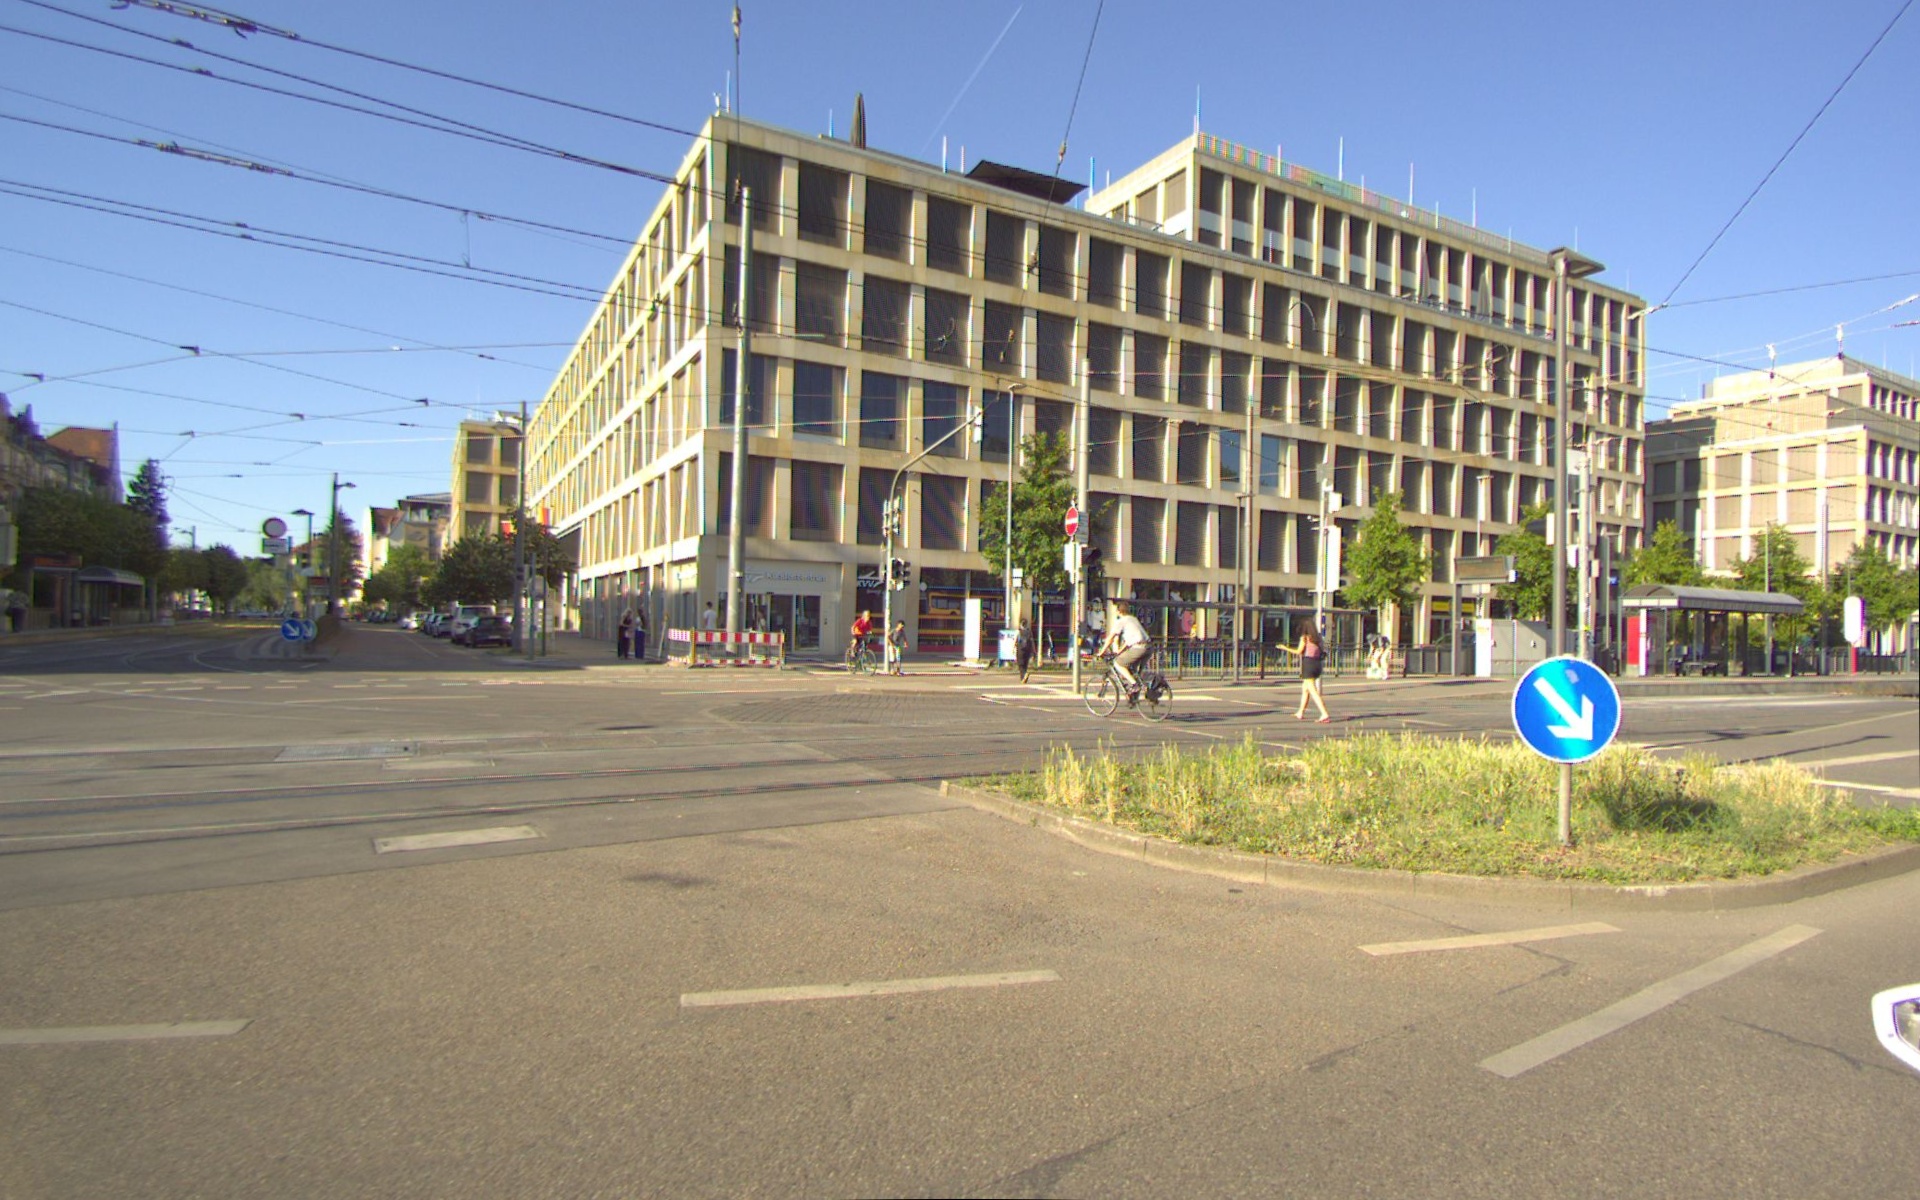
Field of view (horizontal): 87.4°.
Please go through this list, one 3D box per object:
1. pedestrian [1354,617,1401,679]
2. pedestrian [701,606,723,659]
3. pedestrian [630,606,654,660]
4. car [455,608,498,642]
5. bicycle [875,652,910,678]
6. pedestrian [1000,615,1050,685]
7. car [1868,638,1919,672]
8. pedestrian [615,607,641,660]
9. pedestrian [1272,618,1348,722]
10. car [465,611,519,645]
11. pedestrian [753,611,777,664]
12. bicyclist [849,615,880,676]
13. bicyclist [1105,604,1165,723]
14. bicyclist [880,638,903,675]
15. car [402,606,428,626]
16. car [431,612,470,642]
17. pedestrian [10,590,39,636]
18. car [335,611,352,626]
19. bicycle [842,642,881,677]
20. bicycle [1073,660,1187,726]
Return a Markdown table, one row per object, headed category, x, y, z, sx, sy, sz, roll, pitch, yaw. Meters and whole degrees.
| category | x | y | z | sx | sy | sz | roll | pitch | yaw |
| --- | --- | --- | --- | --- | --- | --- | --- | --- | --- |
| pedestrian | 11.510 | 1.317 | 27.722 | 0.921 | 1.666 | 0.791 | 2 | -1 | -28 |
| pedestrian | -8.068 | 1.045 | 32.689 | 0.574 | 1.704 | 0.613 | 2 | -1 | -24 |
| pedestrian | -10.301 | 1.066 | 32.567 | 0.576 | 1.704 | 0.612 | 2 | -1 | -31 |
| car | -24.861 | 1.290 | 51.575 | 1.631 | 1.683 | 3.620 | 2 | -1 | -31 |
| bicycle | -1.885 | 1.786 | 27.915 | 0.504 | 0.617 | 1.719 | 2 | -1 | -20 |
| pedestrian | 1.580 | 1.209 | 24.533 | 0.790 | 1.666 | 0.921 | 2 | -1 | -42 |
| car | 59.890 | 3.486 | 64.040 | 3.955 | 2.040 | 1.983 | 2 | -1 | -31 |
| pedestrian | -10.918 | 1.092 | 33.042 | 0.632 | 1.704 | 0.611 | 2 | -1 | -32 |
| pedestrian | 5.819 | 1.142 | 16.716 | 0.790 | 1.666 | 0.921 | 2 | -1 | -42 |
| car | -21.722 | 1.273 | 46.579 | 1.869 | 1.483 | 3.967 | 2 | -1 | -31 |
| pedestrian | -6.288 | 1.204 | 32.408 | 0.576 | 1.704 | 0.612 | 2 | -1 | -31 |
| bicyclist | -2.646 | 1.253 | 27.720 | 0.674 | 1.640 | 0.627 | 1 | -1 | -21 |
| bicyclist | 2.774 | 0.985 | 15.907 | 0.642 | 1.832 | 0.660 | 2 | -1 | -42 |
| bicyclist | -1.916 | 1.579 | 28.051 | 0.503 | 1.006 | 0.461 | 1 | -1 | -19 |
| car | -51.930 | 1.545 | 95.641 | 1.977 | 1.847 | 3.967 | 2 | -1 | -31 |
| car | -32.895 | 1.724 | 64.828 | 1.977 | 1.847 | 3.967 | 2 | -1 | -31 |
| pedestrian | -35.658 | 0.495 | 38.290 | 0.605 | 1.704 | 0.582 | 0 | -1 | 28 |
| car | -89.940 | 2.719 | 146.585 | 1.977 | 2.040 | 3.967 | 2 | -1 | -31 |
| bicycle | -2.724 | 1.639 | 27.757 | 0.598 | 0.889 | 1.882 | 1 | -1 | -20 |
| bicycle | 2.668 | 1.444 | 15.964 | 0.510 | 0.923 | 1.866 | 3 | -2 | -42 |
